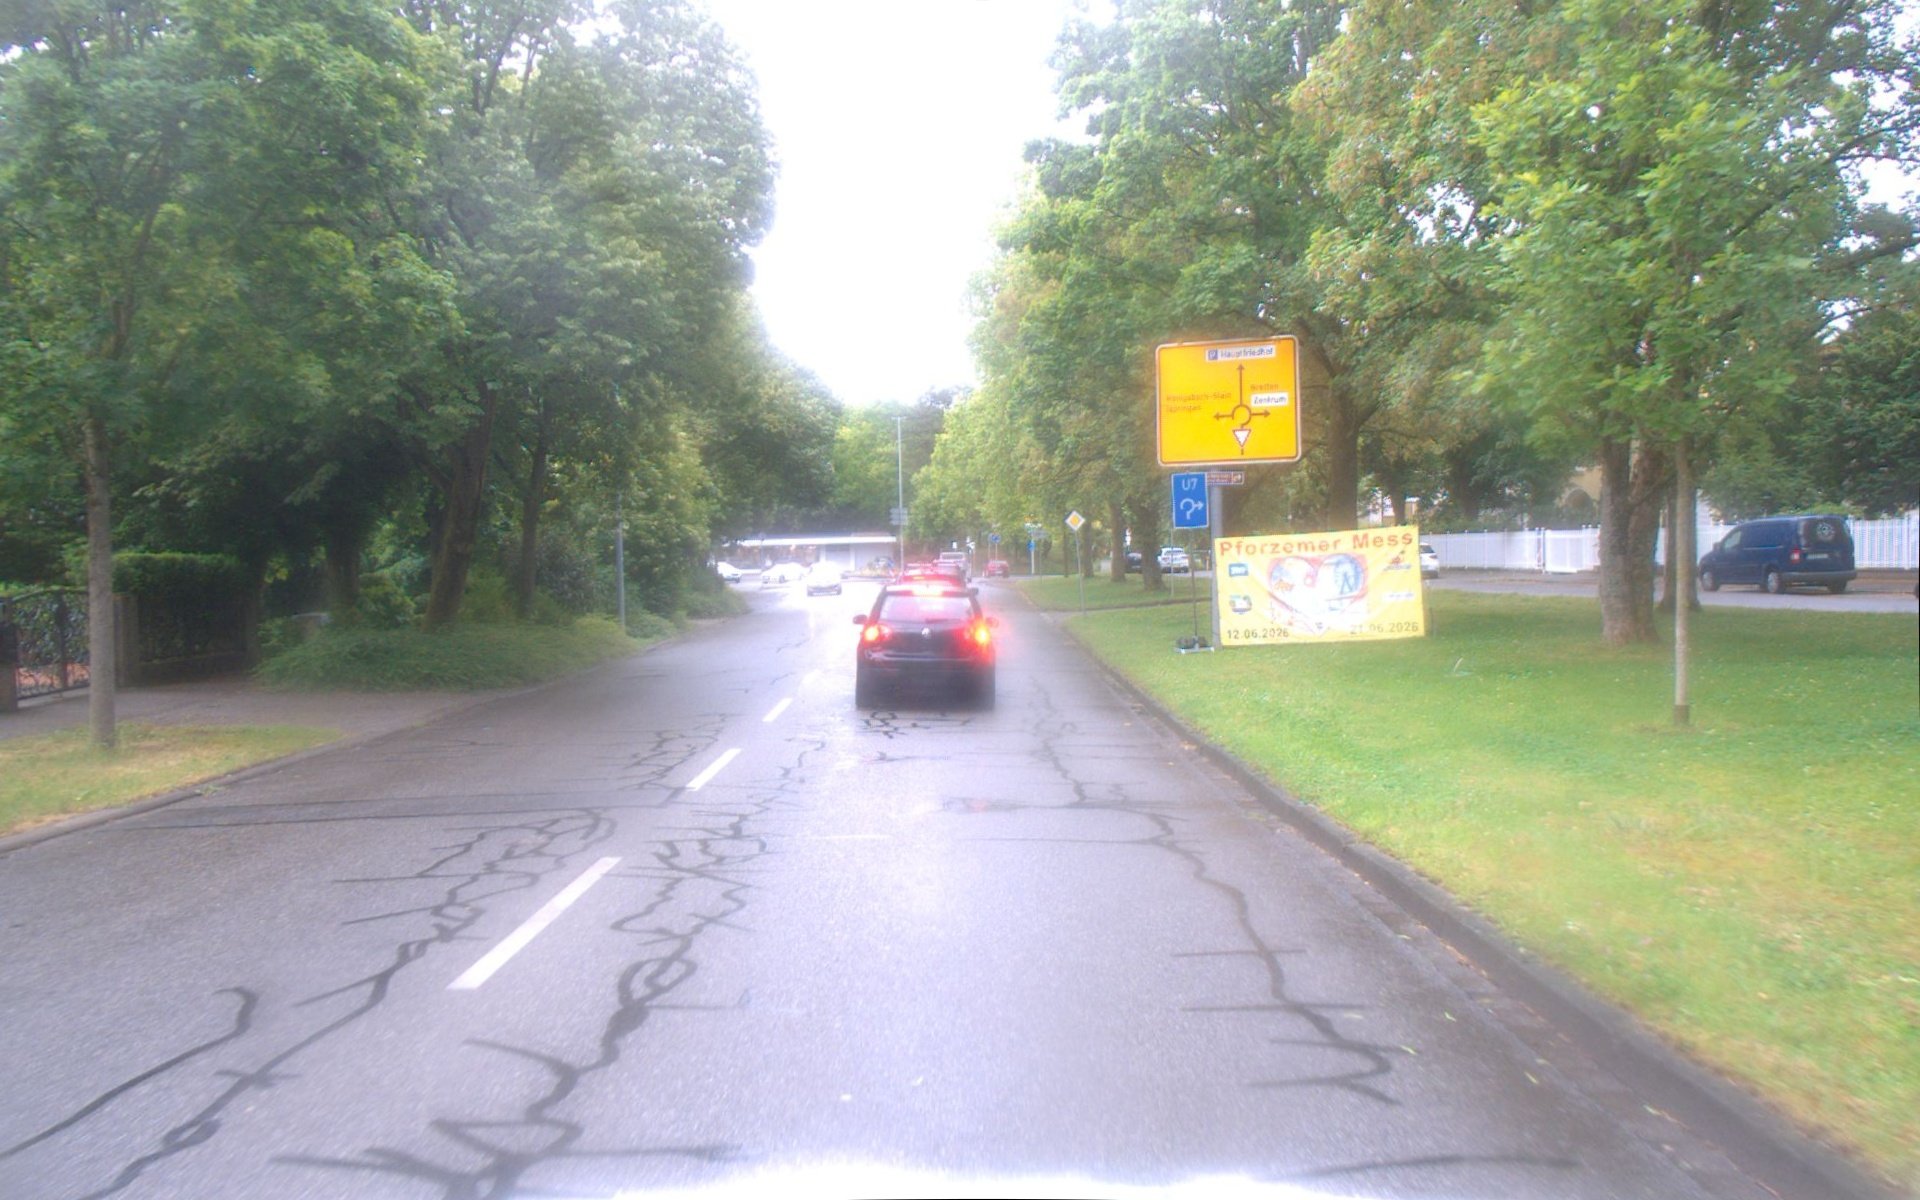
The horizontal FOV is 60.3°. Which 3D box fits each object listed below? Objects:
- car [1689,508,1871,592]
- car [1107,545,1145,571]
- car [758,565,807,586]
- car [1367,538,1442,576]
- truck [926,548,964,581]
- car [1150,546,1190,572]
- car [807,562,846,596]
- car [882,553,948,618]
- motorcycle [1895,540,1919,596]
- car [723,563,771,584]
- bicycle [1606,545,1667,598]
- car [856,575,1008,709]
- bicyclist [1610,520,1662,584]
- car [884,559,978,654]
[{"bbox_3d":[20.085,-1.234,40.764,1.903,1.840,4.646,-3,2,-3],"label":"car"},{"bbox_3d":[9.932,-2.511,99.096,1.767,1.409,4.000,-3,2,-1],"label":"car"},{"bbox_3d":[-13.680,-1.898,127.647,1.580,1.452,3.997,-1,3,34],"label":"car"},{"bbox_3d":[17.966,-1.752,67.053,1.585,1.434,4.006,-3,2,-6],"label":"car"},{"bbox_3d":[-0.937,-2.272,107.305,2.367,2.039,5.151,-2,1,0],"label":"truck"},{"bbox_3d":[12.590,-2.492,99.364,1.767,1.430,4.000,-3,2,-1],"label":"car"},{"bbox_3d":[-6.829,-1.107,84.828,1.728,1.642,4.140,-2,1,-2],"label":"car"},{"bbox_3d":[-1.306,-0.448,49.359,1.817,1.815,4.000,-1,1,0],"label":"car"},{"bbox_3d":[20.174,-0.667,33.701,1.846,1.111,0.659,-1,2,19],"label":"motorcycle"},{"bbox_3d":[-17.414,-2.174,135.068,1.743,1.646,3.788,0,1,38],"label":"car"},{"bbox_3d":[15.222,-0.634,37.248,0.583,1.158,1.863,-1,1,-1],"label":"bicycle"},{"bbox_3d":[-0.336,0.461,21.247,1.762,1.542,3.753,1,1,0],"label":"car"},{"bbox_3d":[15.212,-1.072,37.233,0.729,1.415,1.000,-1,0,-1],"label":"bicyclist"},{"bbox_3d":[-0.580,0.083,34.654,1.817,1.815,4.000,-1,1,0],"label":"car"}]
